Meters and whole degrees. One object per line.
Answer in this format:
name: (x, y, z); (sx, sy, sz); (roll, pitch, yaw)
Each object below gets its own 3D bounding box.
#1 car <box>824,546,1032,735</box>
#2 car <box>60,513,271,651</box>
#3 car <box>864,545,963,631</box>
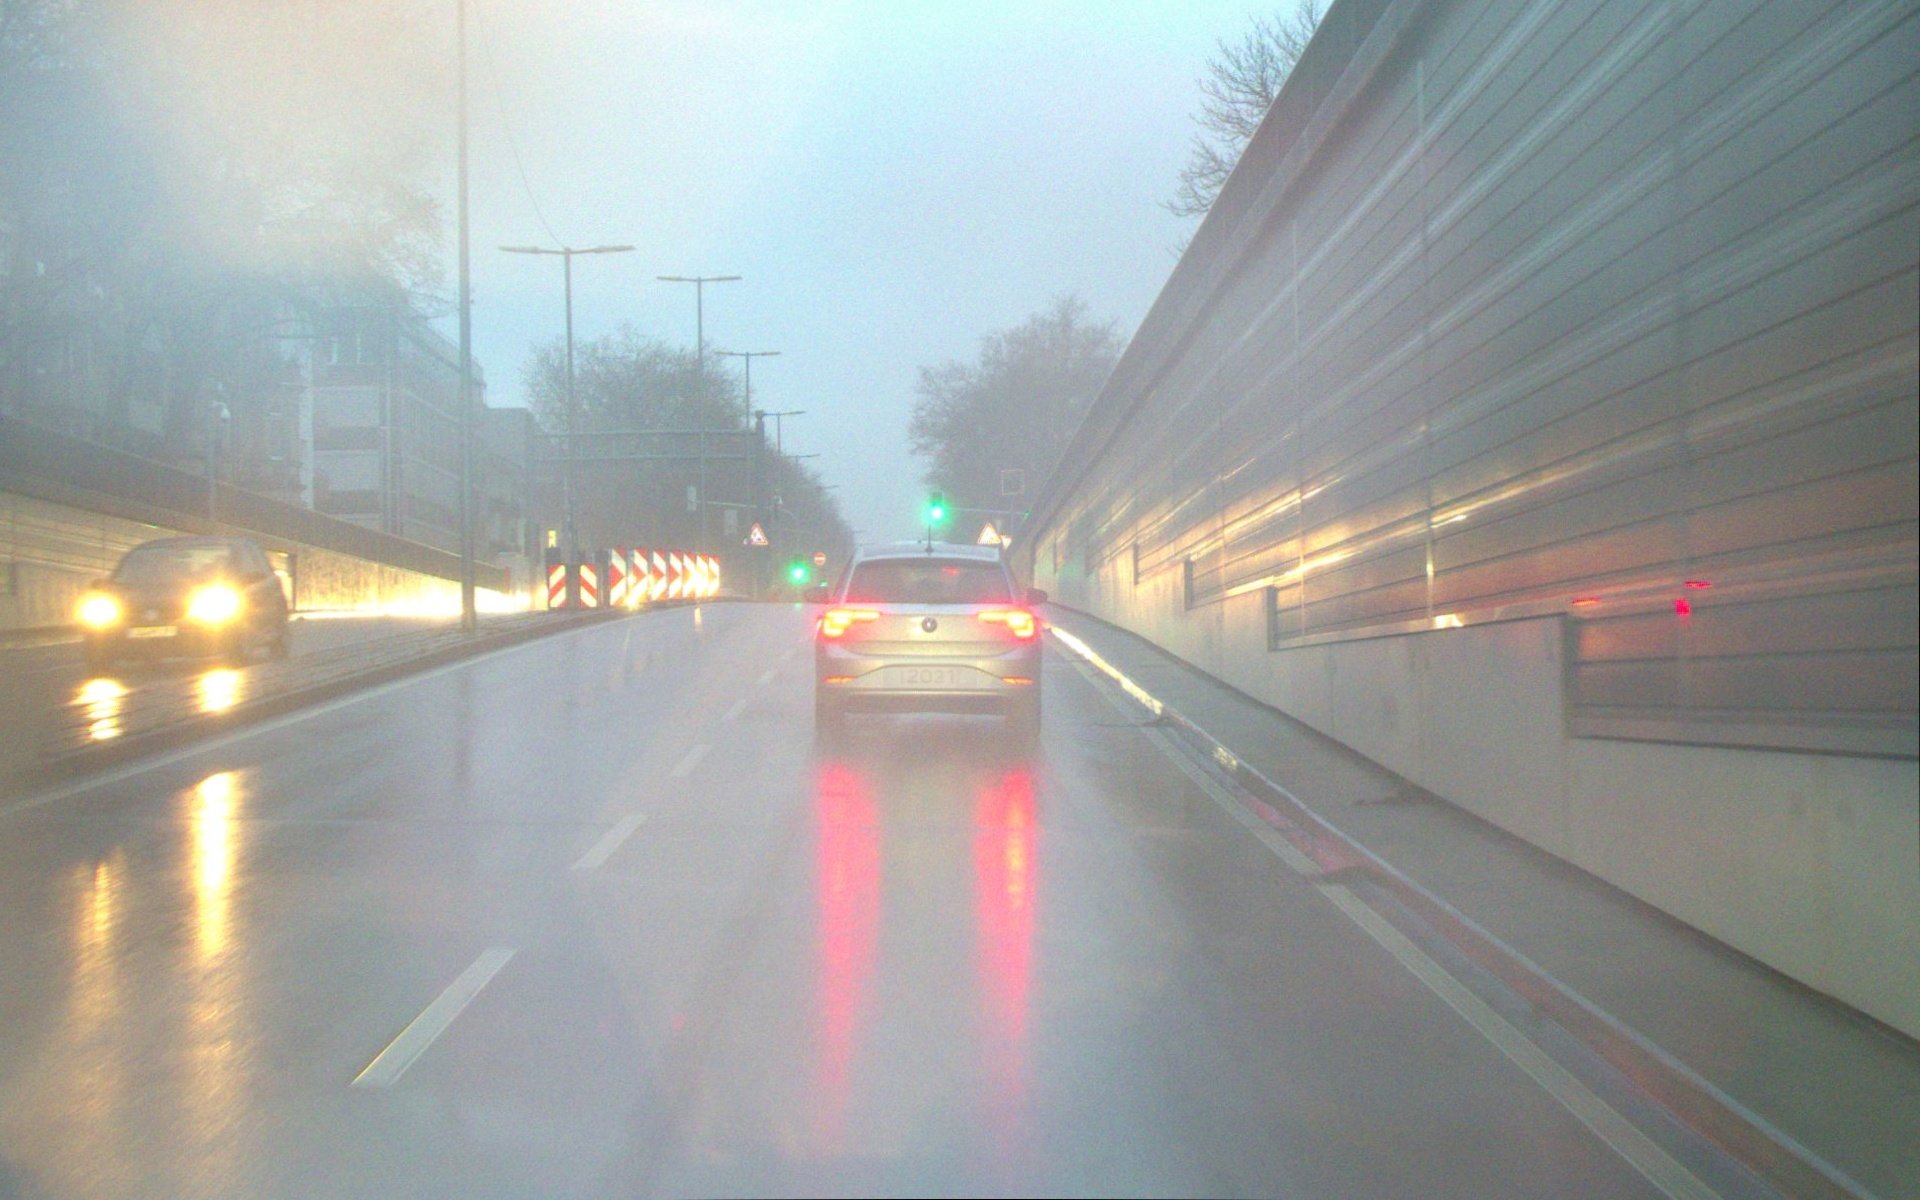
car: (-0.254, 0.319, 27.055); (1.532, 1.392, 3.434); (0, -1, -1)
car: (-8.920, -0.241, 38.826); (1.571, 1.466, 3.687); (-1, 1, -1)
car: (-0.987, -0.219, 70.636); (1.880, 1.615, 4.000); (1, -2, -3)
